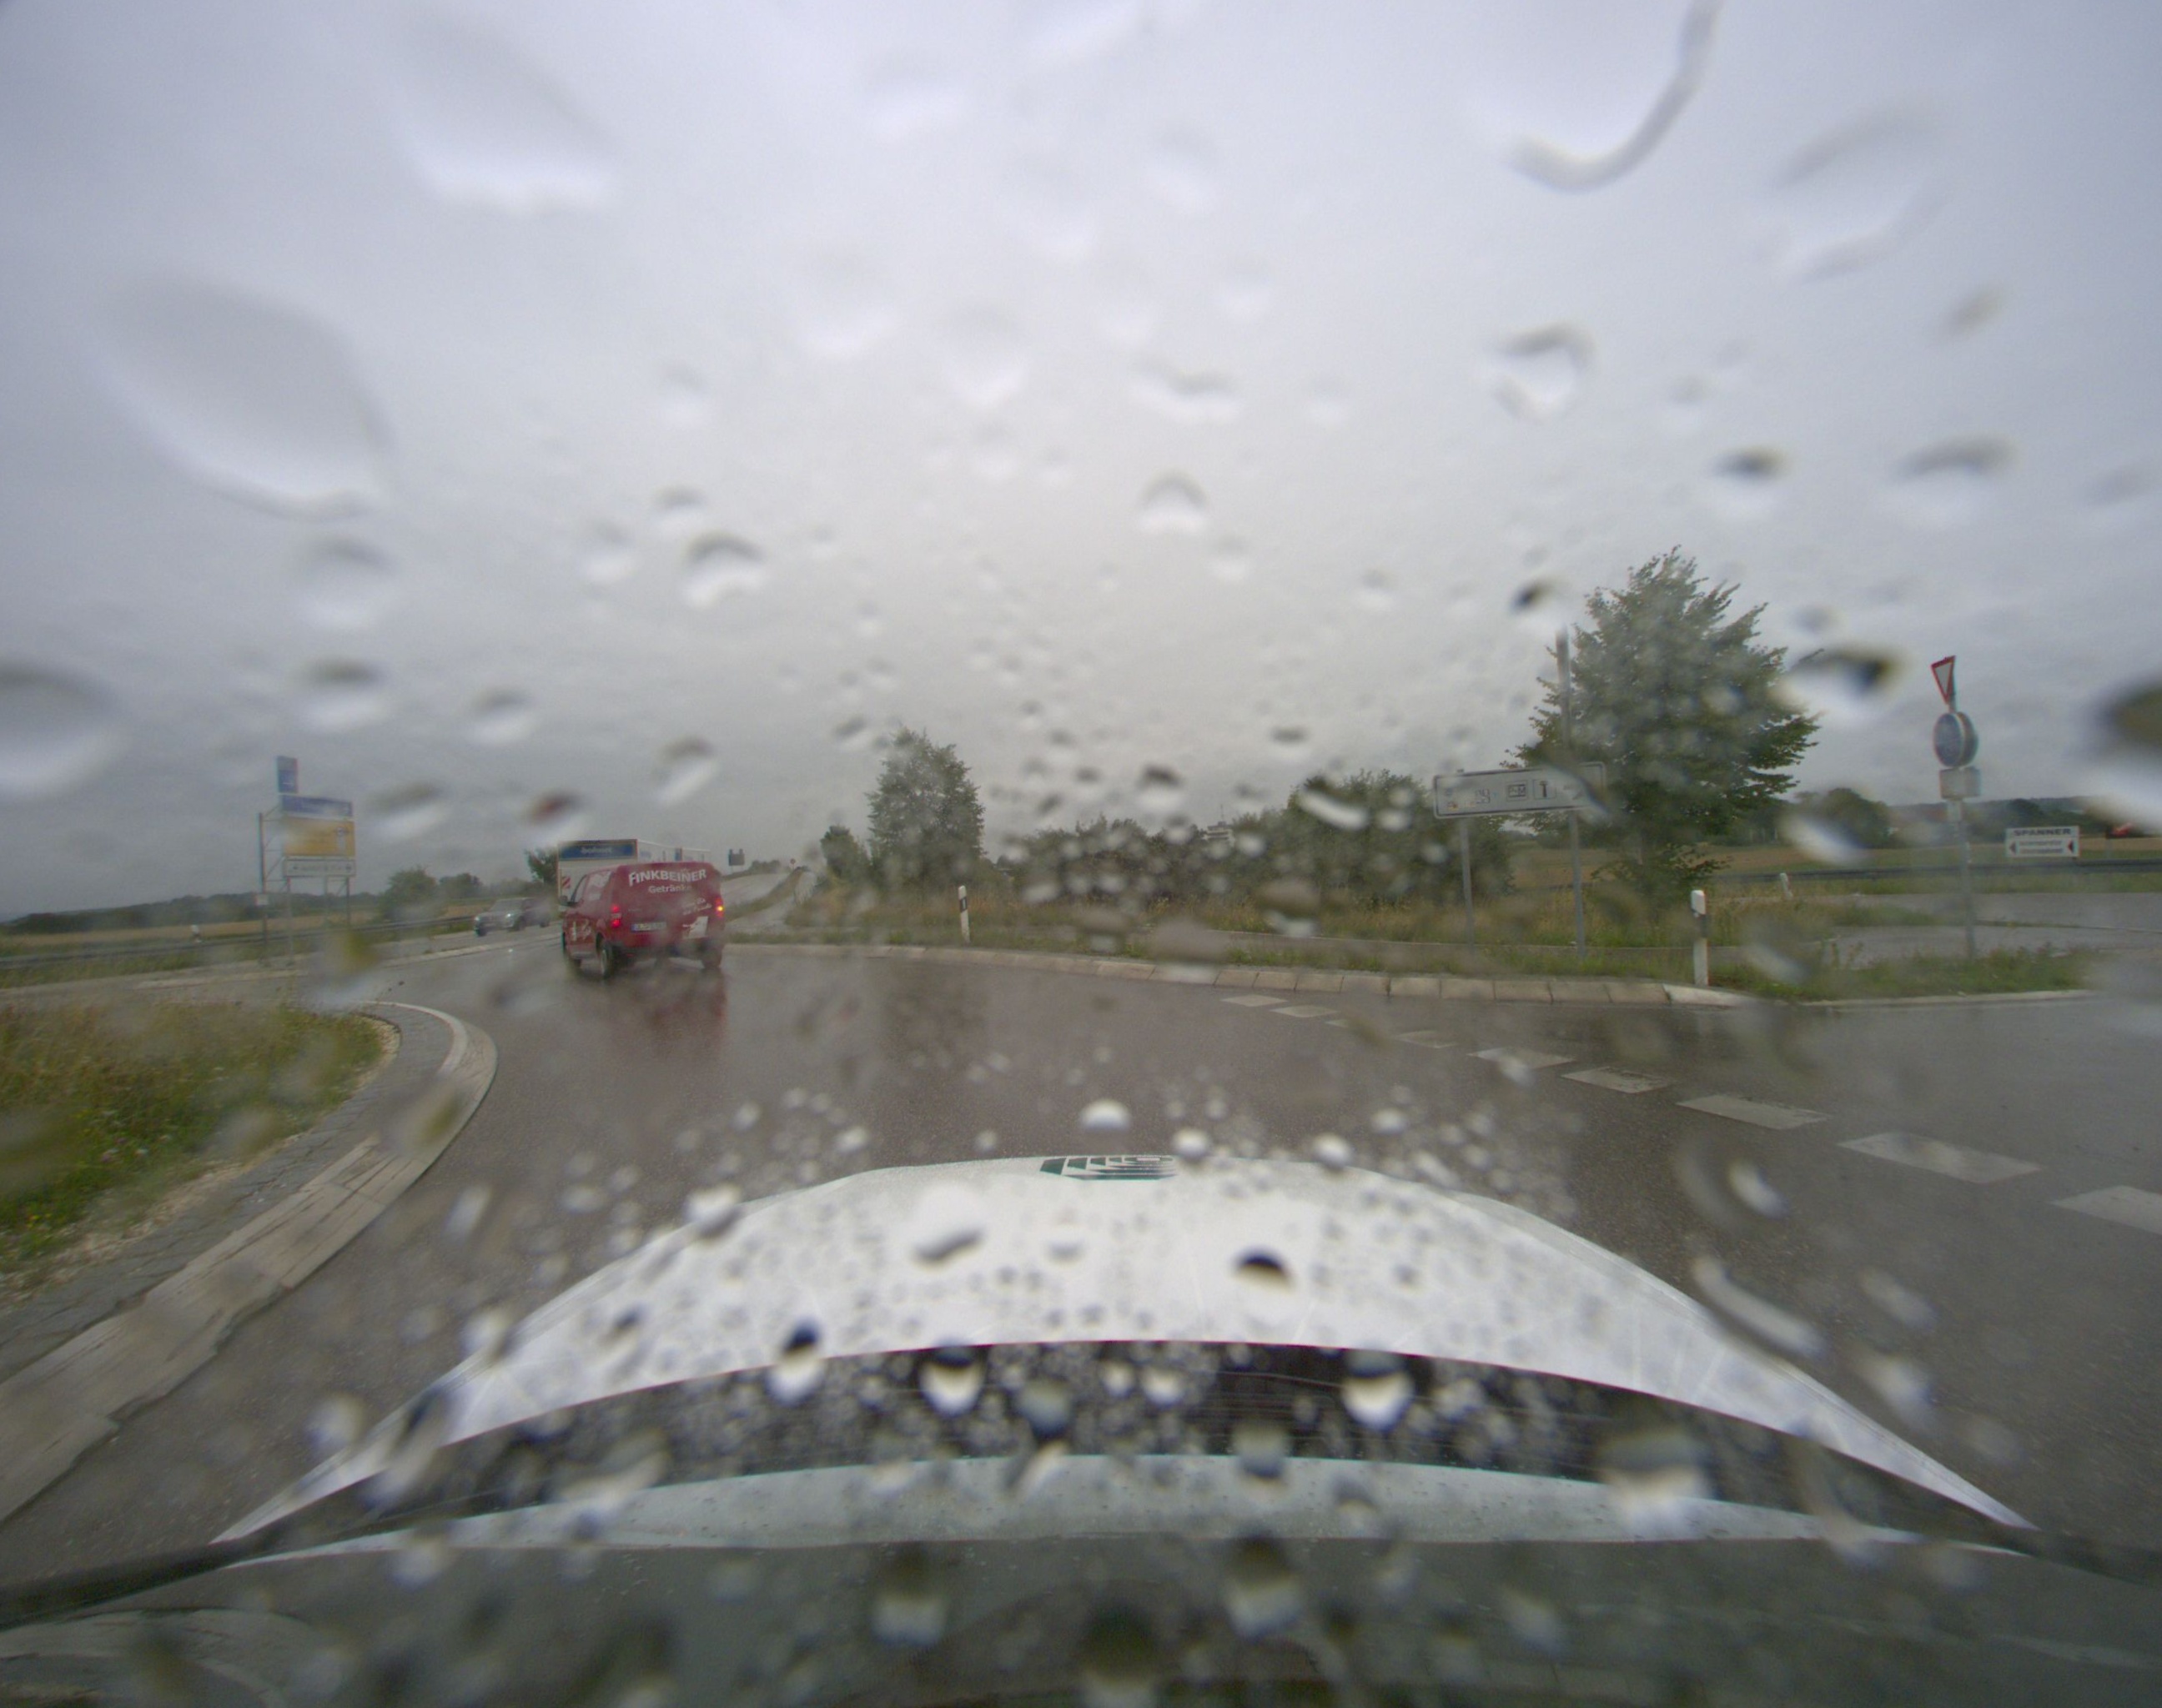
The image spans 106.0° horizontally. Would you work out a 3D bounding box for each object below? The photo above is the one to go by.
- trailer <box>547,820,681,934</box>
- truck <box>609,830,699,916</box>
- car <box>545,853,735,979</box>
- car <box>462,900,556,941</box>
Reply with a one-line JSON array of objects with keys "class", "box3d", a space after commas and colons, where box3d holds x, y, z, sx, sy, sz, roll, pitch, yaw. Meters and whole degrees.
[{"class": "trailer", "box3d": [-18.622, 0.865, 33.213, 2.841, 3.819, 9.650, -3, 0, -19]}, {"class": "truck", "box3d": [-21.463, 0.947, 41.383, 2.809, 3.819, 7.637, -3, 0, -20]}, {"class": "car", "box3d": [-8.417, 1.053, 15.284, 2.011, 1.870, 4.919, -4, 1, -41]}, {"class": "car", "box3d": [-26.719, 3.060, 38.187, 1.798, 1.575, 3.992, -2, -1, -5]}]
